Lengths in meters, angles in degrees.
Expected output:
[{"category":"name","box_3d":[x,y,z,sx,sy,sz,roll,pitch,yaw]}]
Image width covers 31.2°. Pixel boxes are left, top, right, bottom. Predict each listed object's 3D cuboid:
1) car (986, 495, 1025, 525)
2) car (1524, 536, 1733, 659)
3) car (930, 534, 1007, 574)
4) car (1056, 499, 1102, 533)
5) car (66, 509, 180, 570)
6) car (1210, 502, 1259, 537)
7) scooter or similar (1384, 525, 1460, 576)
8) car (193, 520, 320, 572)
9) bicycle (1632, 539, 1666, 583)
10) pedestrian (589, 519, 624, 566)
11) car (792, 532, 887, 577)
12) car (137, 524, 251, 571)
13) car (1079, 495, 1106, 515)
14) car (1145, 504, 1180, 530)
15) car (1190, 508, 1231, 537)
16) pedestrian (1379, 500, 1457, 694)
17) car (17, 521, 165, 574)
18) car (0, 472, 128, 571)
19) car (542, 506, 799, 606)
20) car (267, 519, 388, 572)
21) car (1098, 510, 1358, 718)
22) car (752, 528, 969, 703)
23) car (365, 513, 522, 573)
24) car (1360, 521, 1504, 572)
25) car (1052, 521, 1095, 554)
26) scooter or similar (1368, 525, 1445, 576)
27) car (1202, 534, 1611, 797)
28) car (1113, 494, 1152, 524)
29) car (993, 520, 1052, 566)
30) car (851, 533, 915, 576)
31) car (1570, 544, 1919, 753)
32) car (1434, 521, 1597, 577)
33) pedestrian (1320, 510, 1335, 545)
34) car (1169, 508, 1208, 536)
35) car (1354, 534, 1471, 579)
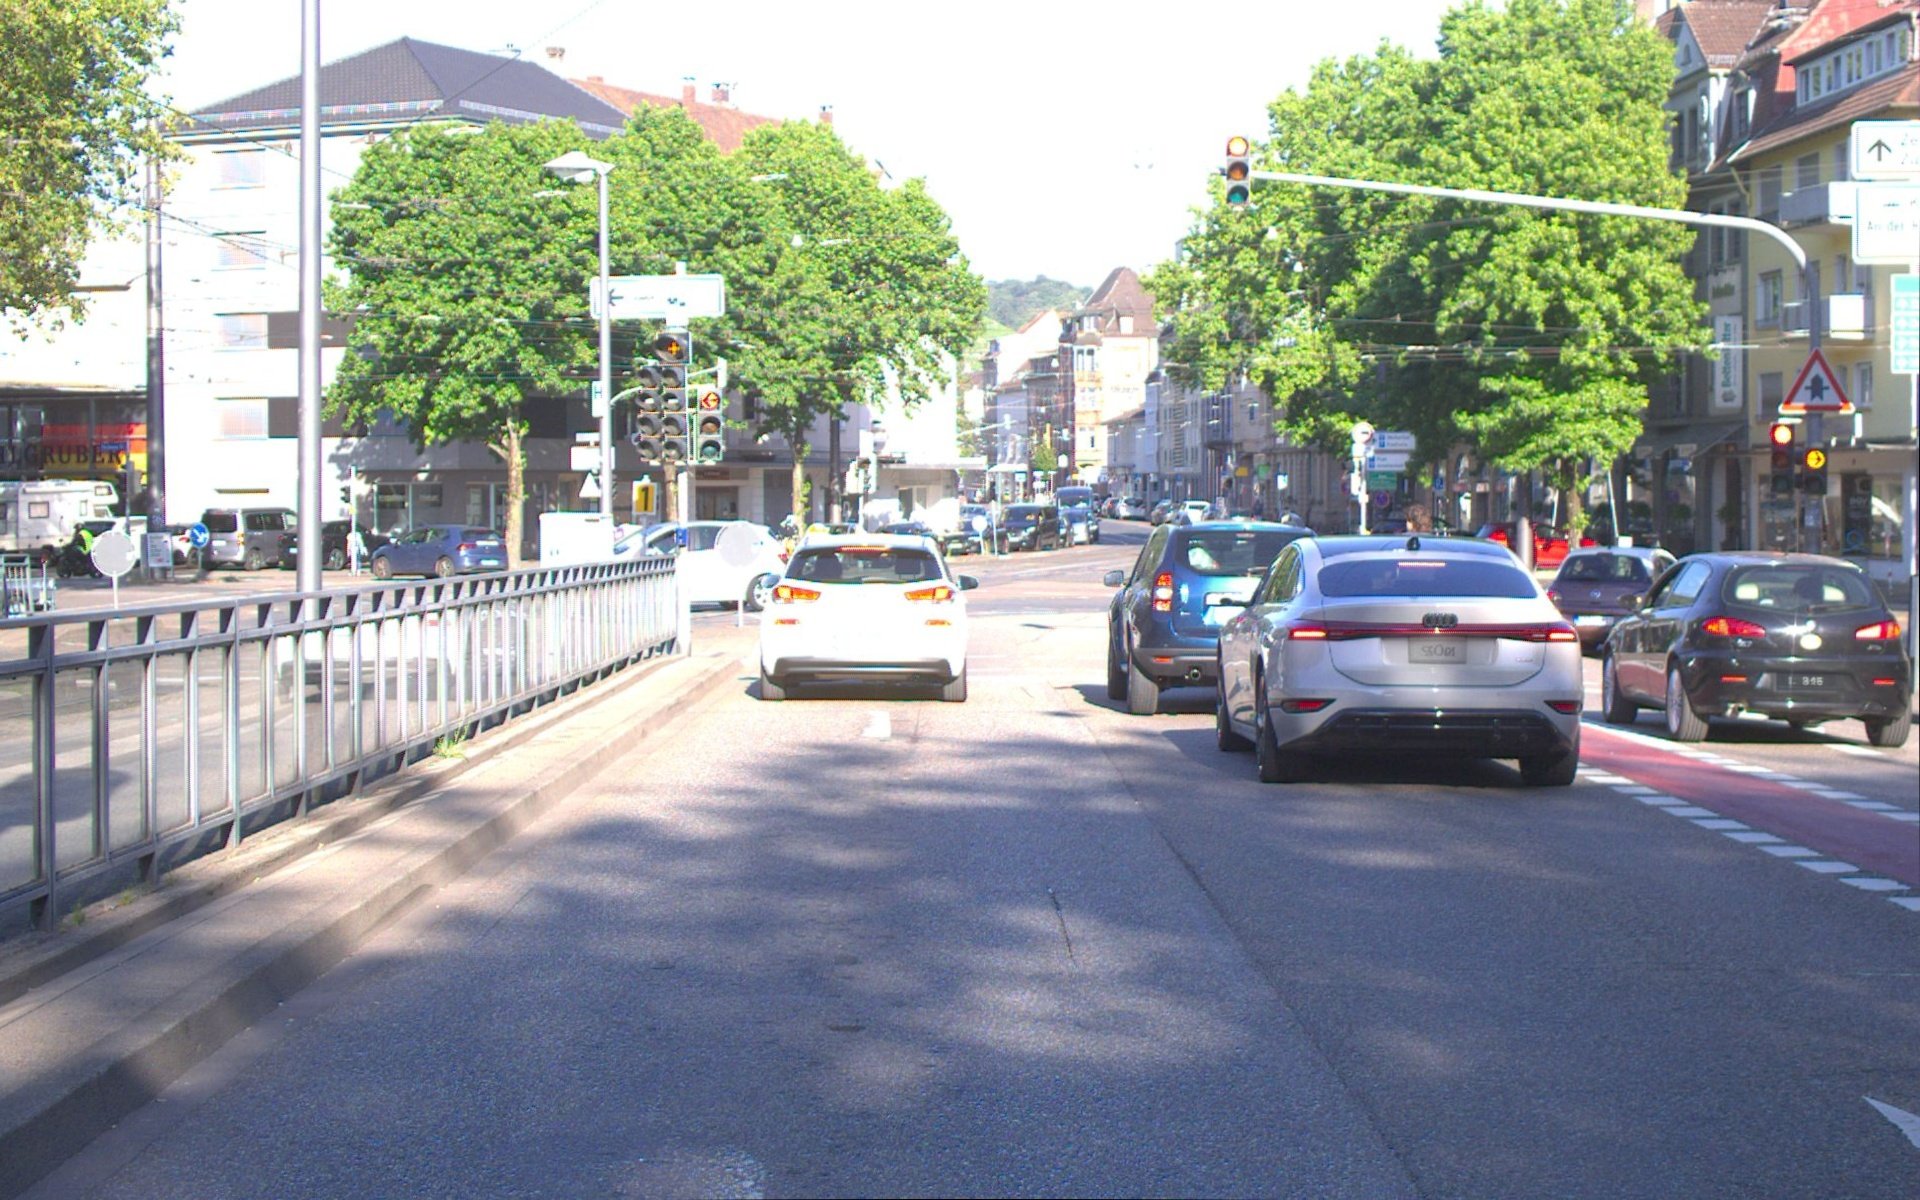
[{"category":"car","box_3d":[2.328,-4.623,176.708,1.794,1.505,4.001,0,1,-2]},{"category":"car","box_3d":[9.103,-0.074,46.617,1.797,1.505,3.995,2,2,26]},{"category":"car","box_3d":[0.348,-1.768,131.785,1.796,1.505,3.996,0,1,18]},{"category":"car","box_3d":[5.303,-3.748,153.804,1.794,1.505,4.001,0,1,-2]},{"category":"car","box_3d":[-27.357,-1.988,112.501,1.796,1.949,3.997,1,1,18]},{"category":"car","box_3d":[14.005,-4.090,175.434,2.105,1.770,4.342,0,1,-1]},{"category":"scooter or similar","box_3d":[11.729,-1.258,87.324,1.949,1.276,0.552,1,1,41]},{"category":"car","box_3d":[-22.383,-1.736,109.542,1.797,1.643,4.004,1,1,29]},{"category":"bicycle","box_3d":[17.439,-0.987,87.012,0.609,1.104,1.800,0,1,4]},{"category":"pedestrian","box_3d":[-11.377,-1.858,110.734,0.803,1.479,0.861,1,1,26]},{"category":"car","box_3d":[-4.099,-1.540,117.737,1.726,1.505,3.871,0,1,24]},{"category":"car","box_3d":[-24.848,-1.719,111.604,1.796,1.505,4.007,1,1,18]},{"category":"car","box_3d":[9.941,-7.113,257.645,1.794,1.505,4.000,0,1,-1]},{"category":"car","box_3d":[12.213,-4.999,207.352,1.794,1.517,4.000,0,1,-1]},{"category":"car","box_3d":[13.234,-4.098,181.964,1.794,1.505,4.000,0,1,-1]},{"category":"pedestrian","box_3d":[4.437,-0.036,33.334,0.657,1.864,0.678,0,1,-1]},{"category":"car","box_3d":[-25.627,-1.557,101.380,3.992,1.505,1.798,1,1,24]},{"category":"car","box_3d":[-30.497,-2.589,113.488,2.499,3.154,6.528,1,1,22]},{"category":"car","box_3d":[-5.096,-0.772,60.484,4.146,1.686,1.822,1,1,-20]},{"category":"car","box_3d":[-19.999,-1.725,108.878,1.923,1.643,4.176,1,1,20]},{"category":"car","box_3d":[2.198,0.066,29.166,1.800,1.632,4.045,1,1,-1]},{"category":"car","box_3d":[-0.873,0.092,30.916,1.808,1.447,4.000,1,1,-1]},{"category":"car","box_3d":[-13.444,-1.496,89.384,3.996,1.505,1.796,1,1,38]},{"category":"car","box_3d":[14.194,-1.617,103.447,3.986,1.505,1.800,0,1,-6]},{"category":"car","box_3d":[5.334,-2.943,161.809,1.794,1.505,4.001,0,1,-2]},{"category":"scooter or similar","box_3d":[11.269,-1.264,86.774,1.949,1.276,0.552,1,1,41]},{"category":"car","box_3d":[2.711,0.327,21.997,1.929,1.467,4.855,1,1,-1]},{"category":"car","box_3d":[11.650,-6.133,232.359,2.327,2.007,4.977,0,1,-1]},{"category":"car","box_3d":[2.563,-2.314,139.210,1.795,1.820,3.999,0,1,10]},{"category":"car","box_3d":[-2.755,-1.637,123.727,1.794,1.505,3.999,0,1,6]},{"category":"car","box_3d":[6.036,0.317,26.696,1.800,1.434,4.045,2,1,-1]},{"category":"car","box_3d":[15.045,-1.395,93.127,3.986,1.505,1.801,0,1,-9]},{"category":"pedestrian","box_3d":[17.788,-3.516,166.566,0.648,1.645,0.650,1,0,10]},{"category":"car","box_3d":[12.490,-4.248,188.123,1.794,1.505,4.000,0,1,-1]},{"category":"car","box_3d":[15.494,-1.499,117.663,3.989,1.505,1.799,-1,2,-42]}]
